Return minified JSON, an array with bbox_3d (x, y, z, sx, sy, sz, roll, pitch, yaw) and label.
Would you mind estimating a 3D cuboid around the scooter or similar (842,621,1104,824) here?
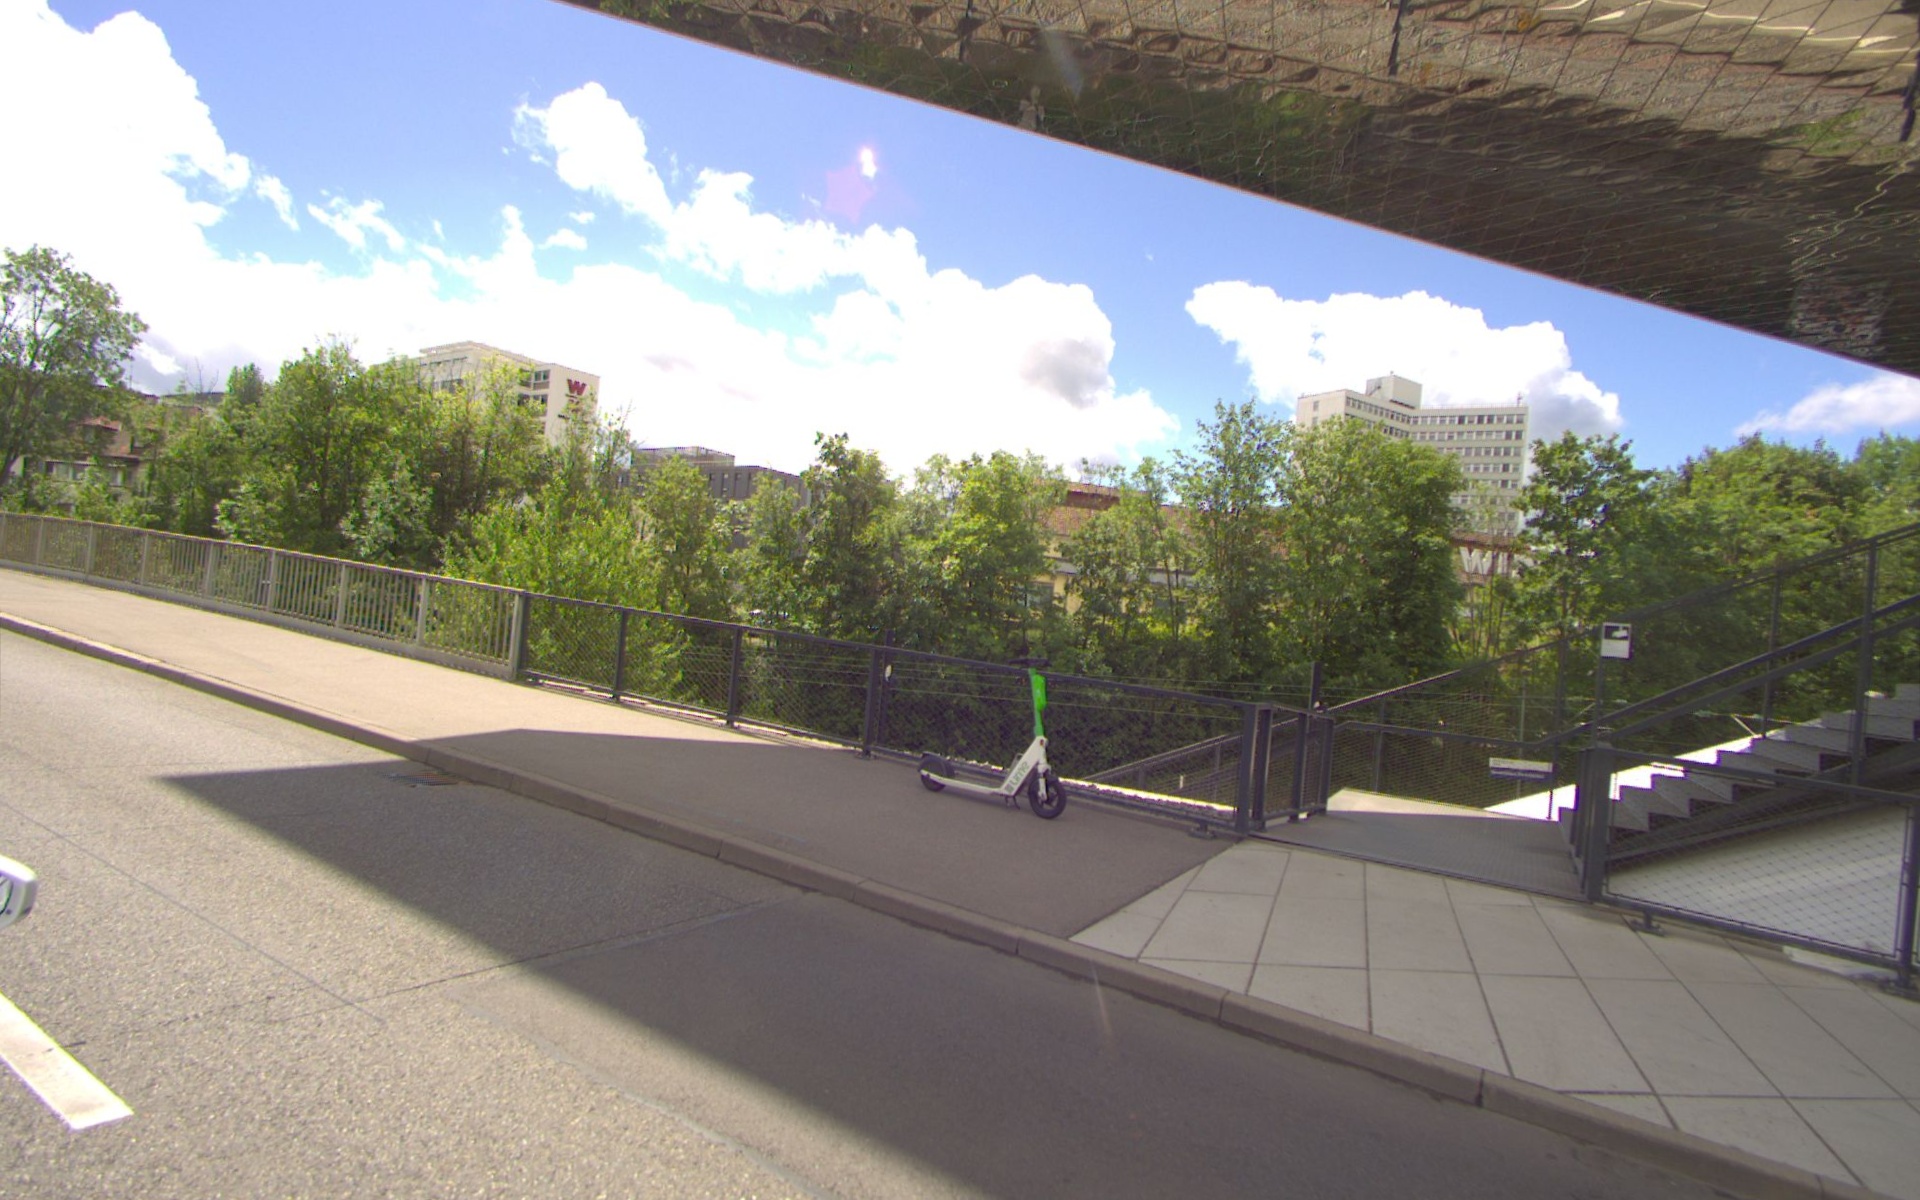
[{"bbox_3d":[0.077,0.887,7.760,1.826,1.229,0.654,6,1,30],"label":"scooter or similar"}]
